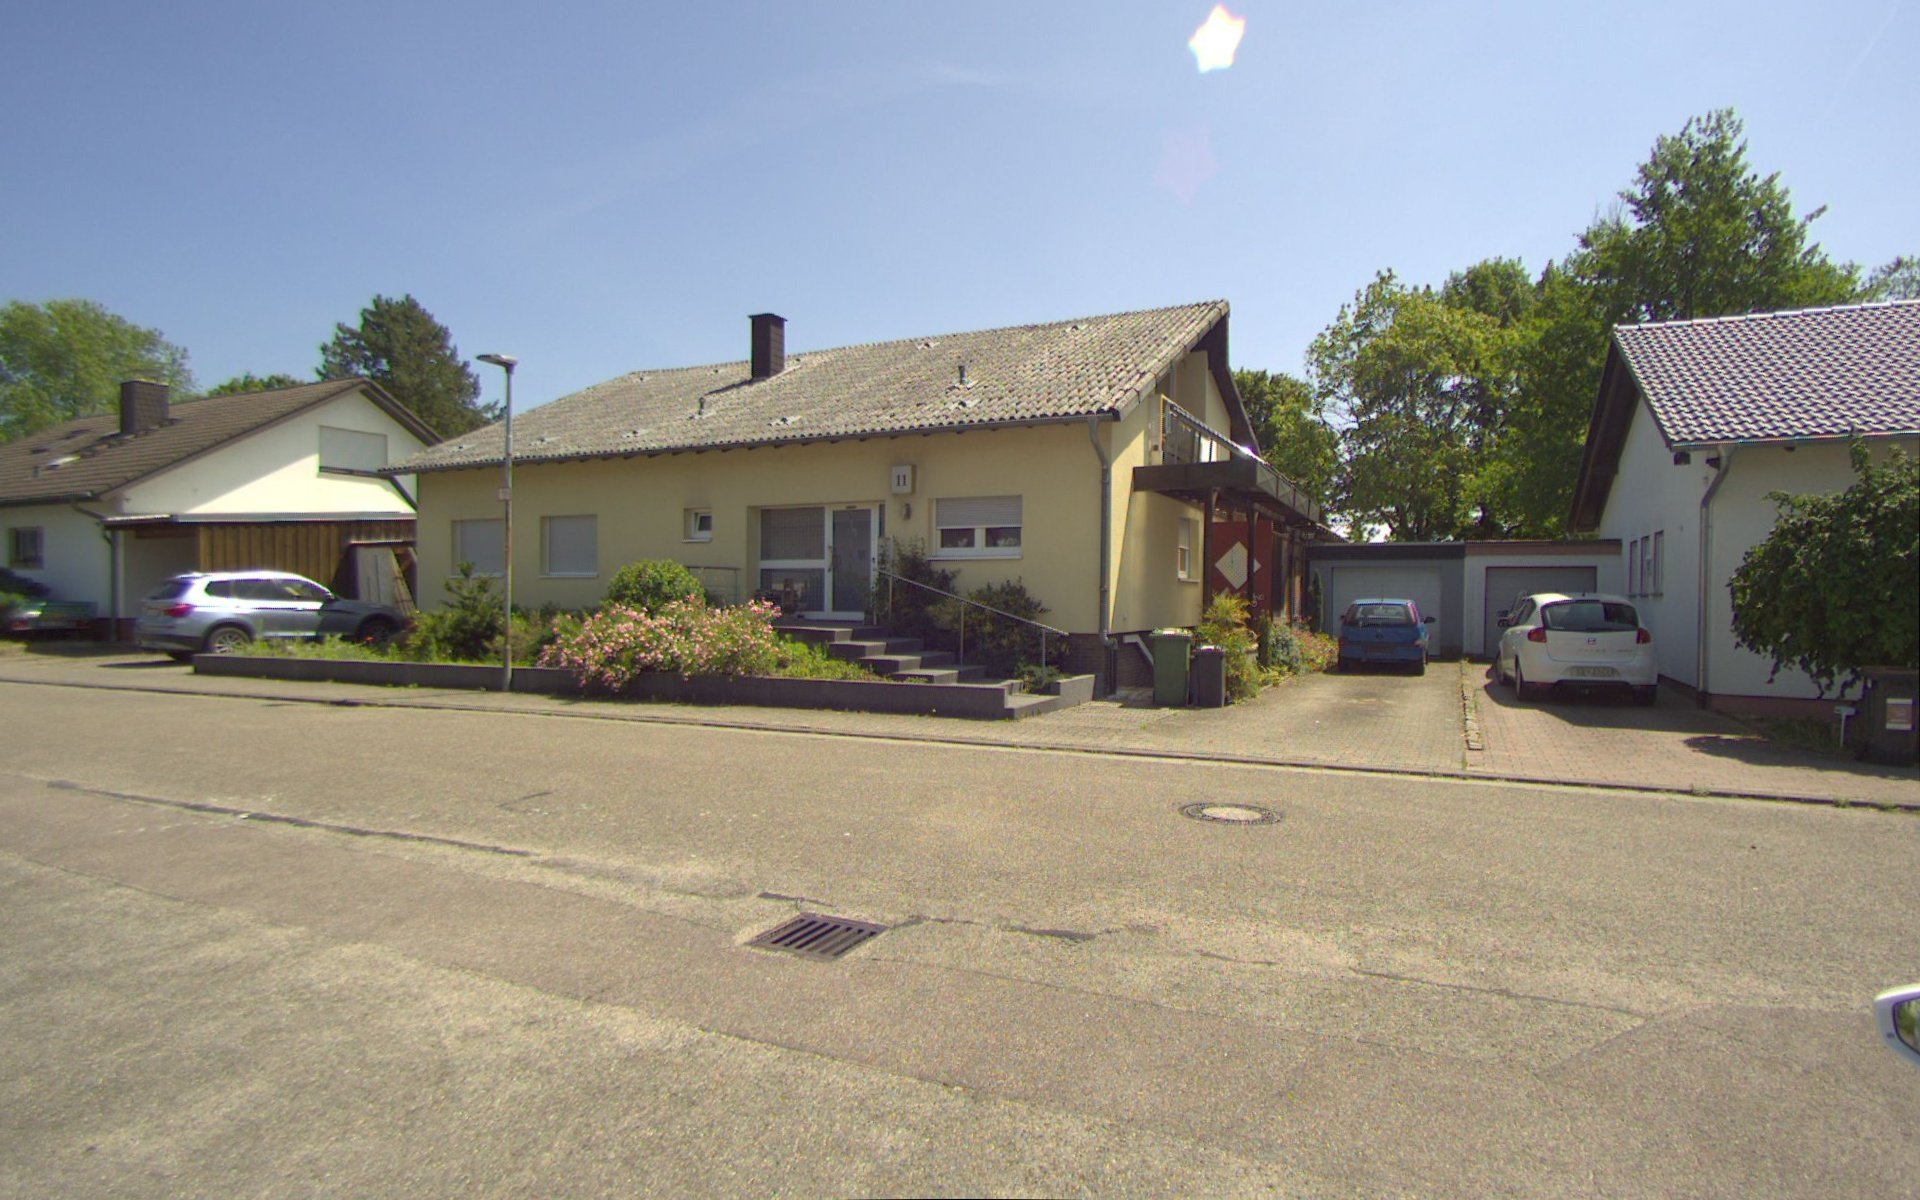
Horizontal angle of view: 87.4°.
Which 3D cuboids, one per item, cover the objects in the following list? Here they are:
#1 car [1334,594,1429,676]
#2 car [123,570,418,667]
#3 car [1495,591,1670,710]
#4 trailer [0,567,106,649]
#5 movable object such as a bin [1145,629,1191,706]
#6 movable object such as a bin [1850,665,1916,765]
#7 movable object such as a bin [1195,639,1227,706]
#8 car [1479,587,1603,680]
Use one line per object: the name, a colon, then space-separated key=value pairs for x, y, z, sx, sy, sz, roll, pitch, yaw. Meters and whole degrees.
car: x=8.811 y=0.655 z=20.867 sx=1.590 sy=1.474 sz=3.250 roll=1 pitch=2 yaw=26
car: x=-13.717 y=0.256 z=20.331 sx=1.679 sy=1.725 sz=4.633 roll=1 pitch=2 yaw=29
car: x=9.508 y=0.667 z=15.647 sx=1.718 sy=1.589 sz=3.997 roll=1 pitch=1 yaw=23
trailer: x=-20.958 y=0.120 z=22.540 sx=3.235 sy=1.695 sz=1.590 roll=2 pitch=2 yaw=27
movable object such as a bin: x=2.975 y=0.954 z=14.360 sx=0.581 sy=1.055 sz=0.492 roll=0 pitch=0 yaw=19
movable object such as a bin: x=8.852 y=1.093 z=9.645 sx=0.368 sy=0.903 sz=0.390 roll=0 pitch=0 yaw=26
movable object such as a bin: x=3.532 y=1.010 z=14.110 sx=0.400 sy=0.903 sz=0.426 roll=0 pitch=0 yaw=19
car: x=11.363 y=0.572 z=19.869 sx=1.893 sy=1.629 sz=3.994 roll=0 pitch=1 yaw=27
